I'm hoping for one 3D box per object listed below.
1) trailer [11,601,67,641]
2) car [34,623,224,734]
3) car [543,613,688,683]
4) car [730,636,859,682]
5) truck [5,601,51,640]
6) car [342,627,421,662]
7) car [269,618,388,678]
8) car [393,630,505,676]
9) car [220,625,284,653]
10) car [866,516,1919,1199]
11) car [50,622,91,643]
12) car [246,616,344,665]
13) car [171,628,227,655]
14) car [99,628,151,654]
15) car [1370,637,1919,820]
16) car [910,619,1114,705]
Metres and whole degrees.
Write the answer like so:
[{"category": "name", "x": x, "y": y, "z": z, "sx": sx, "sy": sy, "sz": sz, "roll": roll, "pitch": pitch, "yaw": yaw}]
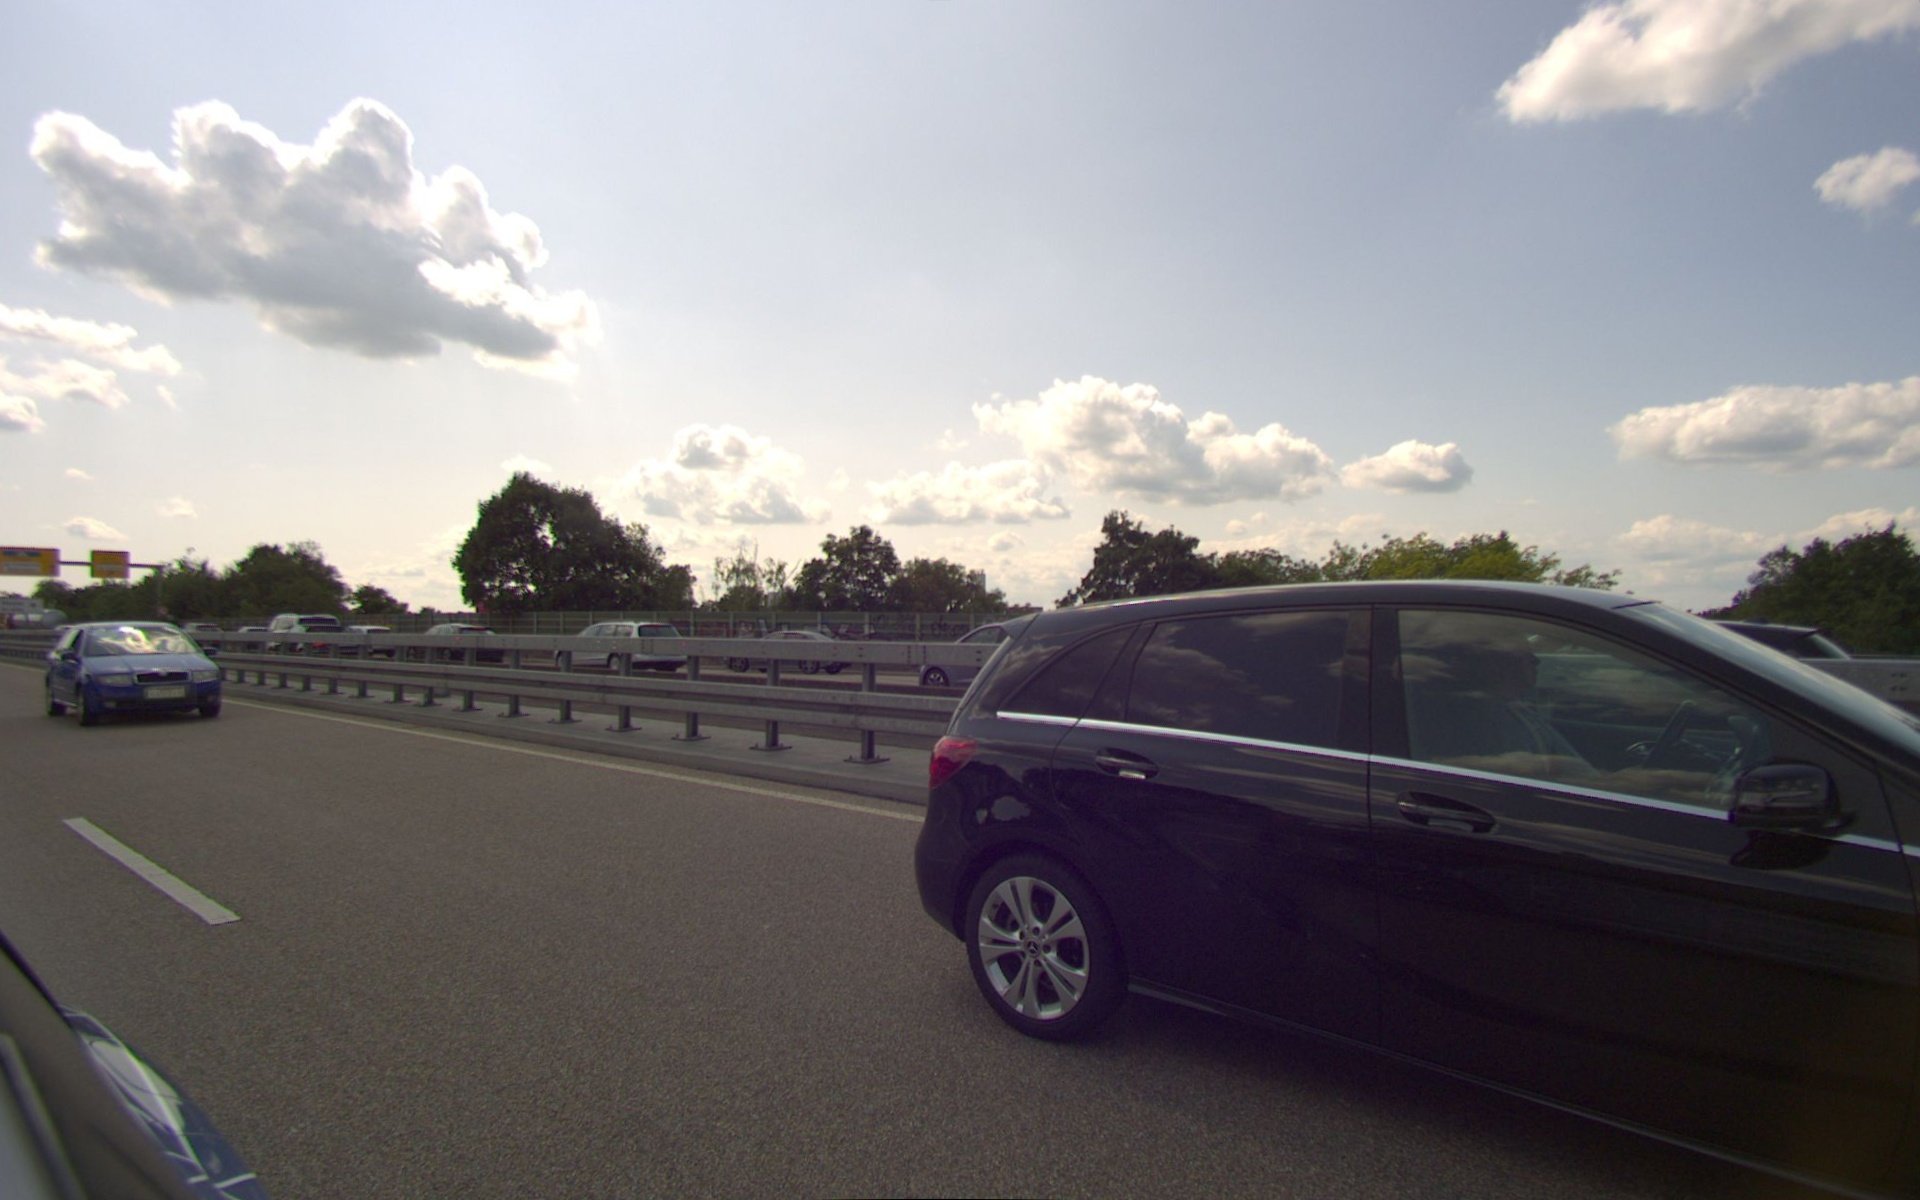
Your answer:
[{"category": "trailer", "x": -89.277, "y": 2.020, "z": 98.030, "sx": 11.022, "sy": 3.697, "sz": 2.657, "roll": -1, "pitch": 0, "yaw": 41}, {"category": "car", "x": -12.524, "y": 1.075, "z": 15.180, "sx": 3.769, "sy": 1.422, "sz": 1.604, "roll": -1, "pitch": 0, "yaw": 41}, {"category": "car", "x": -9.388, "y": 1.296, "z": 27.452, "sx": 4.405, "sy": 1.724, "sz": 1.567, "roll": -3, "pitch": -1, "yaw": 38}, {"category": "car", "x": -5.500, "y": 1.942, "z": 33.692, "sx": 3.970, "sy": 1.397, "sz": 1.637, "roll": -1, "pitch": 0, "yaw": 20}, {"category": "truck", "x": -93.882, "y": 2.035, "z": 101.948, "sx": 6.228, "sy": 3.811, "sz": 2.621, "roll": -1, "pitch": 0, "yaw": 40}, {"category": "car", "x": -27.820, "y": 2.092, "z": 48.619, "sx": 4.278, "sy": 1.586, "sz": 1.905, "roll": -2, "pitch": -1, "yaw": 39}, {"category": "car", "x": -18.310, "y": 1.327, "z": 29.279, "sx": 4.055, "sy": 1.583, "sz": 1.659, "roll": -1, "pitch": 0, "yaw": 38}, {"category": "car", "x": -16.939, "y": 1.745, "z": 33.498, "sx": 4.042, "sy": 1.400, "sz": 1.767, "roll": -3, "pitch": -1, "yaw": 38}, {"category": "car", "x": -40.648, "y": 2.216, "z": 58.052, "sx": 4.240, "sy": 1.586, "sz": 1.905, "roll": -1, "pitch": -3, "yaw": 39}, {"category": "car", "x": 1.936, "y": 0.605, "z": 3.043, "sx": 4.589, "sy": 1.539, "sz": 1.694, "roll": -1, "pitch": 0, "yaw": 40}, {"category": "car", "x": -70.046, "y": 2.536, "z": 79.688, "sx": 4.278, "sy": 1.632, "sz": 1.697, "roll": -1, "pitch": -3, "yaw": 40}, {"category": "car", "x": -28.906, "y": 1.754, "z": 43.934, "sx": 5.184, "sy": 1.940, "sz": 1.942, "roll": -2, "pitch": 0, "yaw": 38}, {"category": "car", "x": -48.430, "y": 2.623, "z": 64.387, "sx": 4.278, "sy": 1.586, "sz": 1.905, "roll": -2, "pitch": -1, "yaw": 39}, {"category": "car", "x": -55.093, "y": 2.652, "z": 66.738, "sx": 3.882, "sy": 1.586, "sz": 1.905, "roll": -1, "pitch": 0, "yaw": 39}, {"category": "car", "x": 5.925, "y": 0.967, "z": 8.878, "sx": 3.997, "sy": 1.194, "sz": 1.664, "roll": -1, "pitch": 0, "yaw": 40}, {"category": "car", "x": 0.942, "y": 1.142, "z": 19.260, "sx": 3.626, "sy": 1.486, "sz": 1.582, "roll": -1, "pitch": -4, "yaw": 38}]
